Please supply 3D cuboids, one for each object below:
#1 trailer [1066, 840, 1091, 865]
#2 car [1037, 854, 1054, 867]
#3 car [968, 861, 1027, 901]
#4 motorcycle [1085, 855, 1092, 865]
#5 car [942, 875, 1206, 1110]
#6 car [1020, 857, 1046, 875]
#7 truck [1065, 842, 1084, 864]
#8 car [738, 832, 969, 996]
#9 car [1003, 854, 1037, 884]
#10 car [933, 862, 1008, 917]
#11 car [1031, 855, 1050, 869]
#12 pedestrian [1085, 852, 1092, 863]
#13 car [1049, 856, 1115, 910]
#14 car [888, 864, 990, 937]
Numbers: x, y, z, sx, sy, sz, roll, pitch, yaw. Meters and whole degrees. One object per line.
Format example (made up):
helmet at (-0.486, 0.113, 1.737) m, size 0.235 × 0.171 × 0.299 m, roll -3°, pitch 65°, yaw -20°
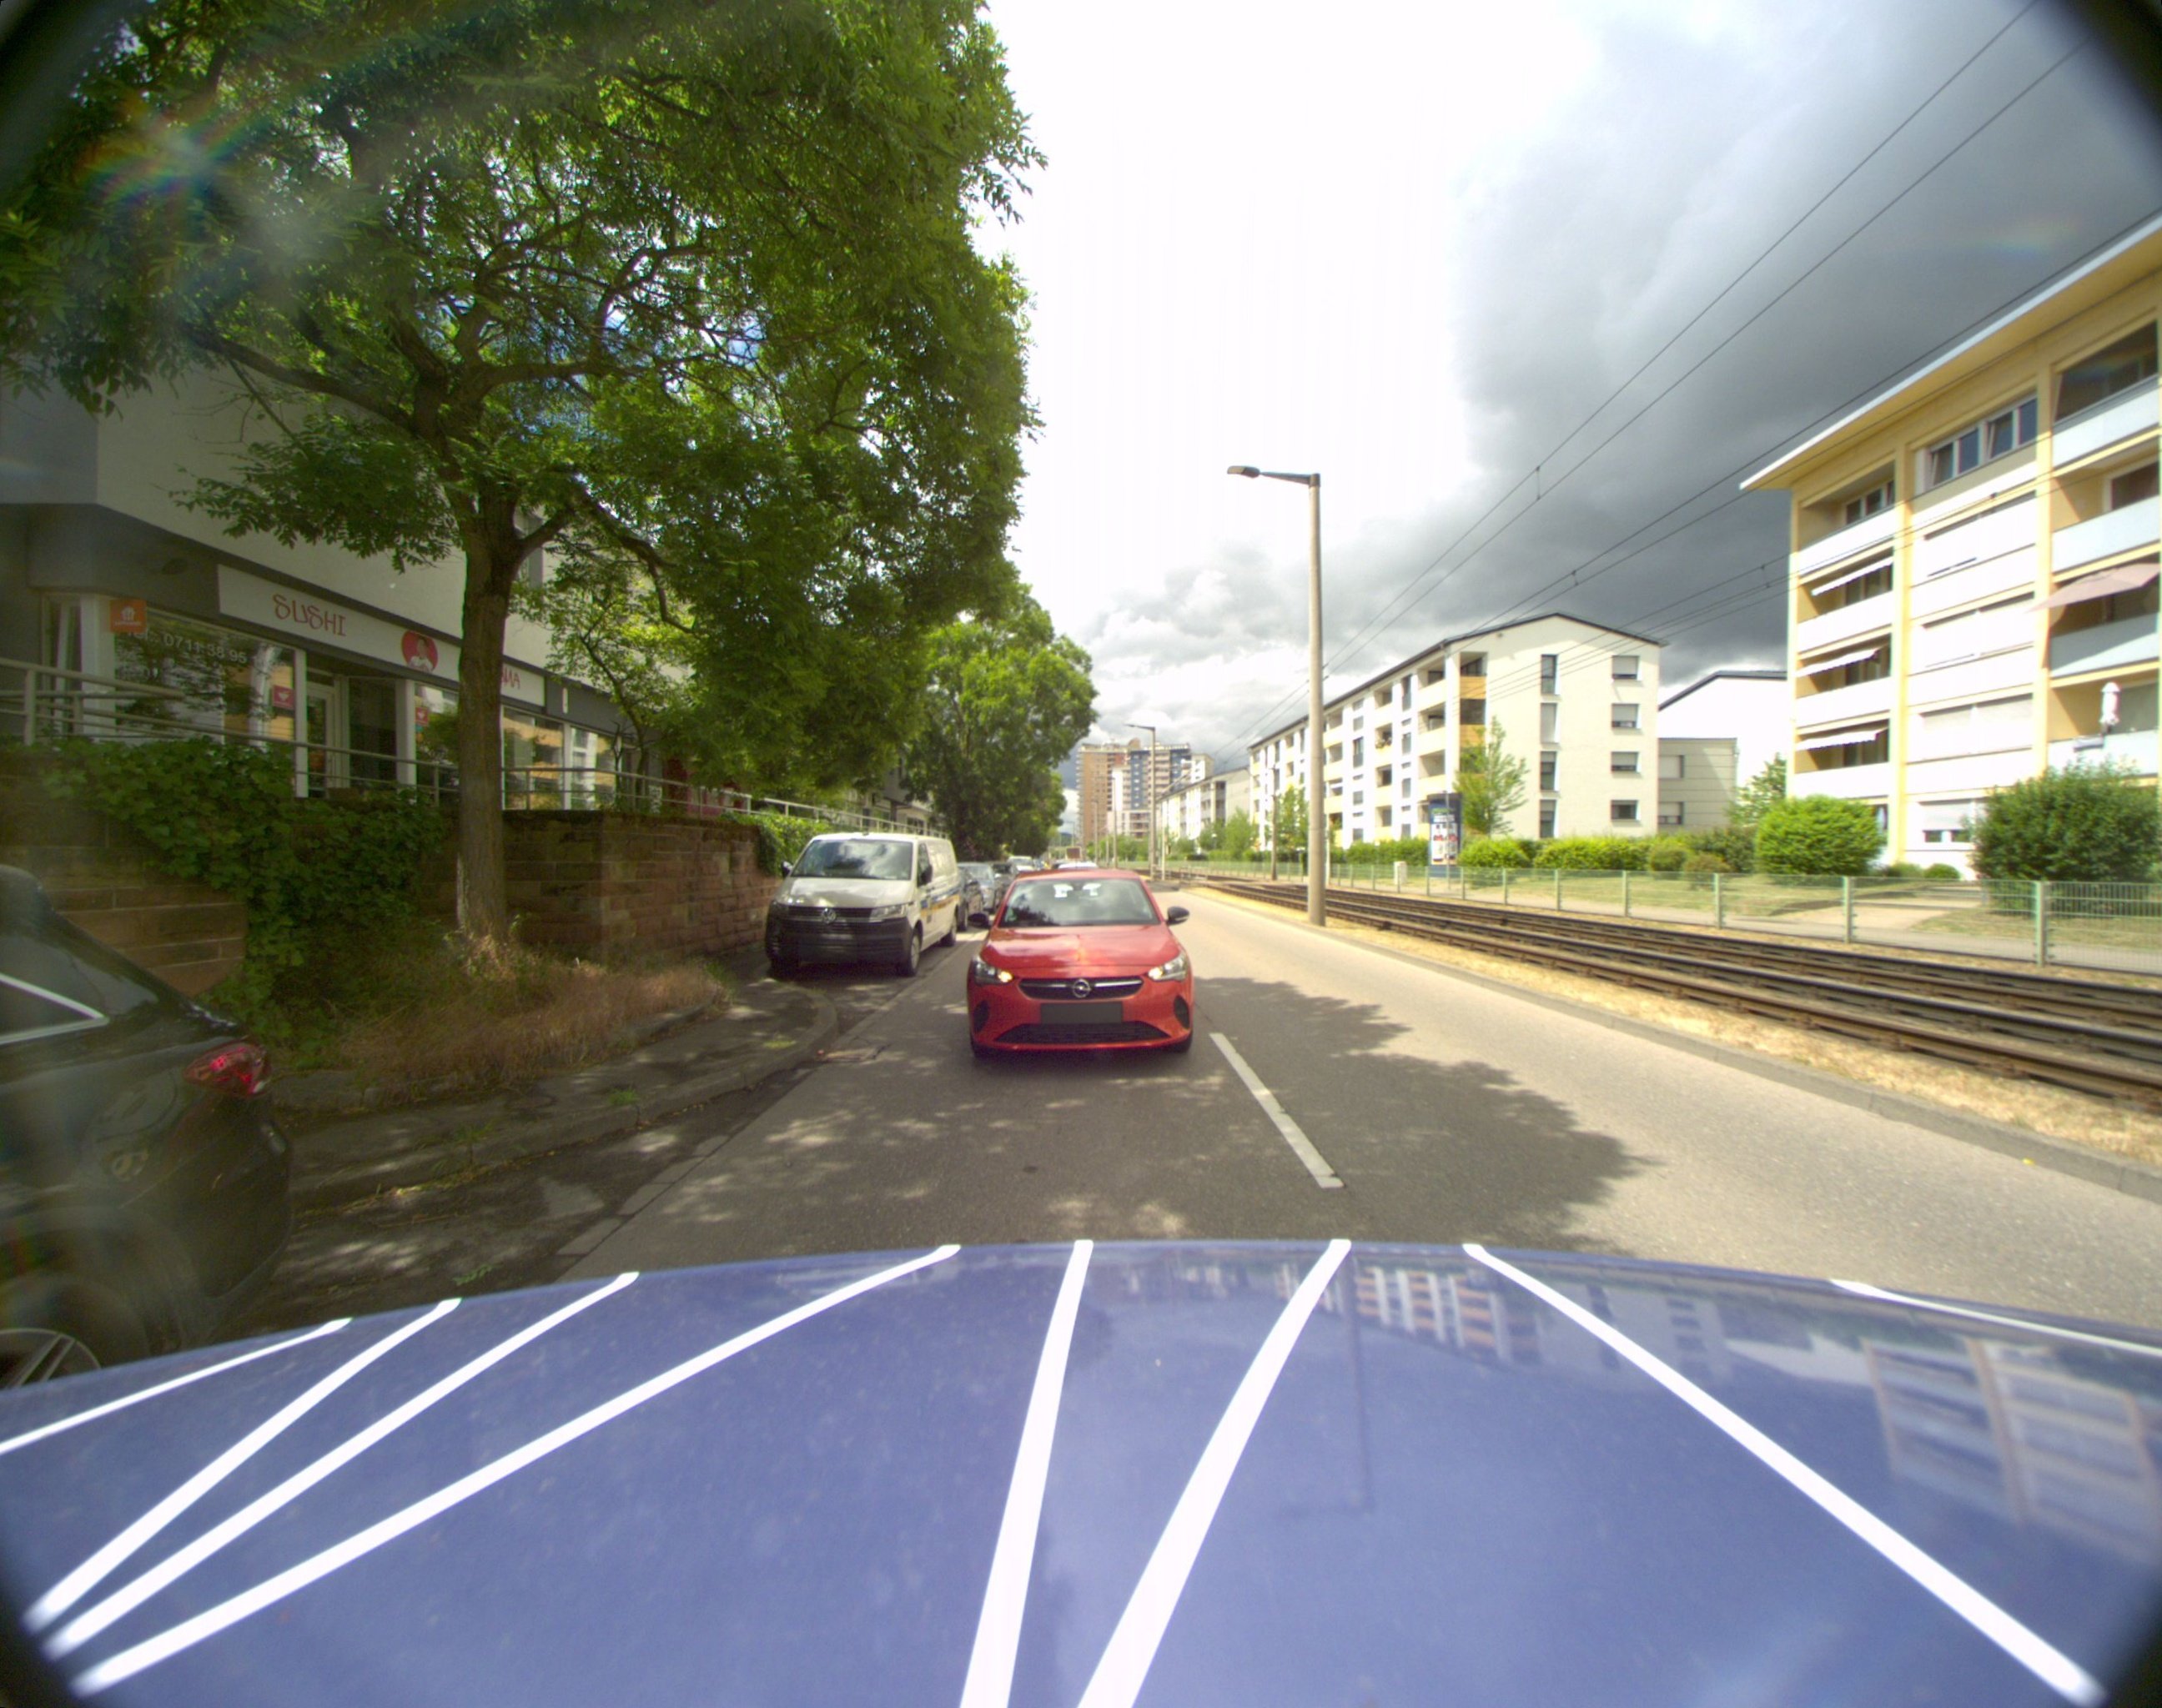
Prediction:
trailer at (-0.560, -0.203, 117.246) m, size 2.876 × 3.428 × 14.610 m, roll -2°, pitch 0°, yaw -3°
car at (-3.991, 0.742, 85.995) m, size 1.784 × 1.420 × 4.147 m, roll 0°, pitch 0°, yaw 0°
car at (-3.184, 0.996, 29.671) m, size 1.784 × 1.420 × 4.147 m, roll -1°, pitch 0°, yaw 0°
motorcycle at (0.961, 0.772, 97.681) m, size 0.783 × 1.181 × 1.869 m, roll -1°, pitch 0°, yaw -1°
car at (-0.005, 0.970, 7.015) m, size 1.723 × 1.434 × 4.000 m, roll -1°, pitch 0°, yaw 1°
car at (-3.882, 0.948, 61.520) m, size 1.784 × 1.420 × 4.147 m, roll -1°, pitch 0°, yaw 0°
truck at (-1.070, -0.213, 125.554) m, size 2.853 × 3.428 × 4.414 m, roll -2°, pitch 0°, yaw -4°
car at (-3.114, 0.720, 11.673) m, size 1.978 × 1.958 × 5.013 m, roll -1°, pitch 0°, yaw 0°
car at (-3.547, 0.838, 45.009) m, size 1.819 × 1.643 × 4.146 m, roll -1°, pitch 0°, yaw -2°
car at (-3.197, 0.998, 22.694) m, size 1.785 × 1.420 × 4.144 m, roll -1°, pitch 0°, yaw -2°
car at (-4.177, 0.799, 79.057) m, size 1.784 × 1.420 × 4.147 m, roll -1°, pitch 0°, yaw 0°
pedestrian at (0.941, 0.463, 97.728) m, size 0.737 × 1.408 × 0.927 m, roll -2°, pitch 1°, yaw -1°
car at (-0.039, 0.892, 24.953) m, size 1.927 × 1.543 × 3.999 m, roll -2°, pitch 0°, yaw -2°
car at (-3.119, 0.976, 17.377) m, size 1.578 × 1.420 × 3.734 m, roll -1°, pitch 0°, yaw 0°
